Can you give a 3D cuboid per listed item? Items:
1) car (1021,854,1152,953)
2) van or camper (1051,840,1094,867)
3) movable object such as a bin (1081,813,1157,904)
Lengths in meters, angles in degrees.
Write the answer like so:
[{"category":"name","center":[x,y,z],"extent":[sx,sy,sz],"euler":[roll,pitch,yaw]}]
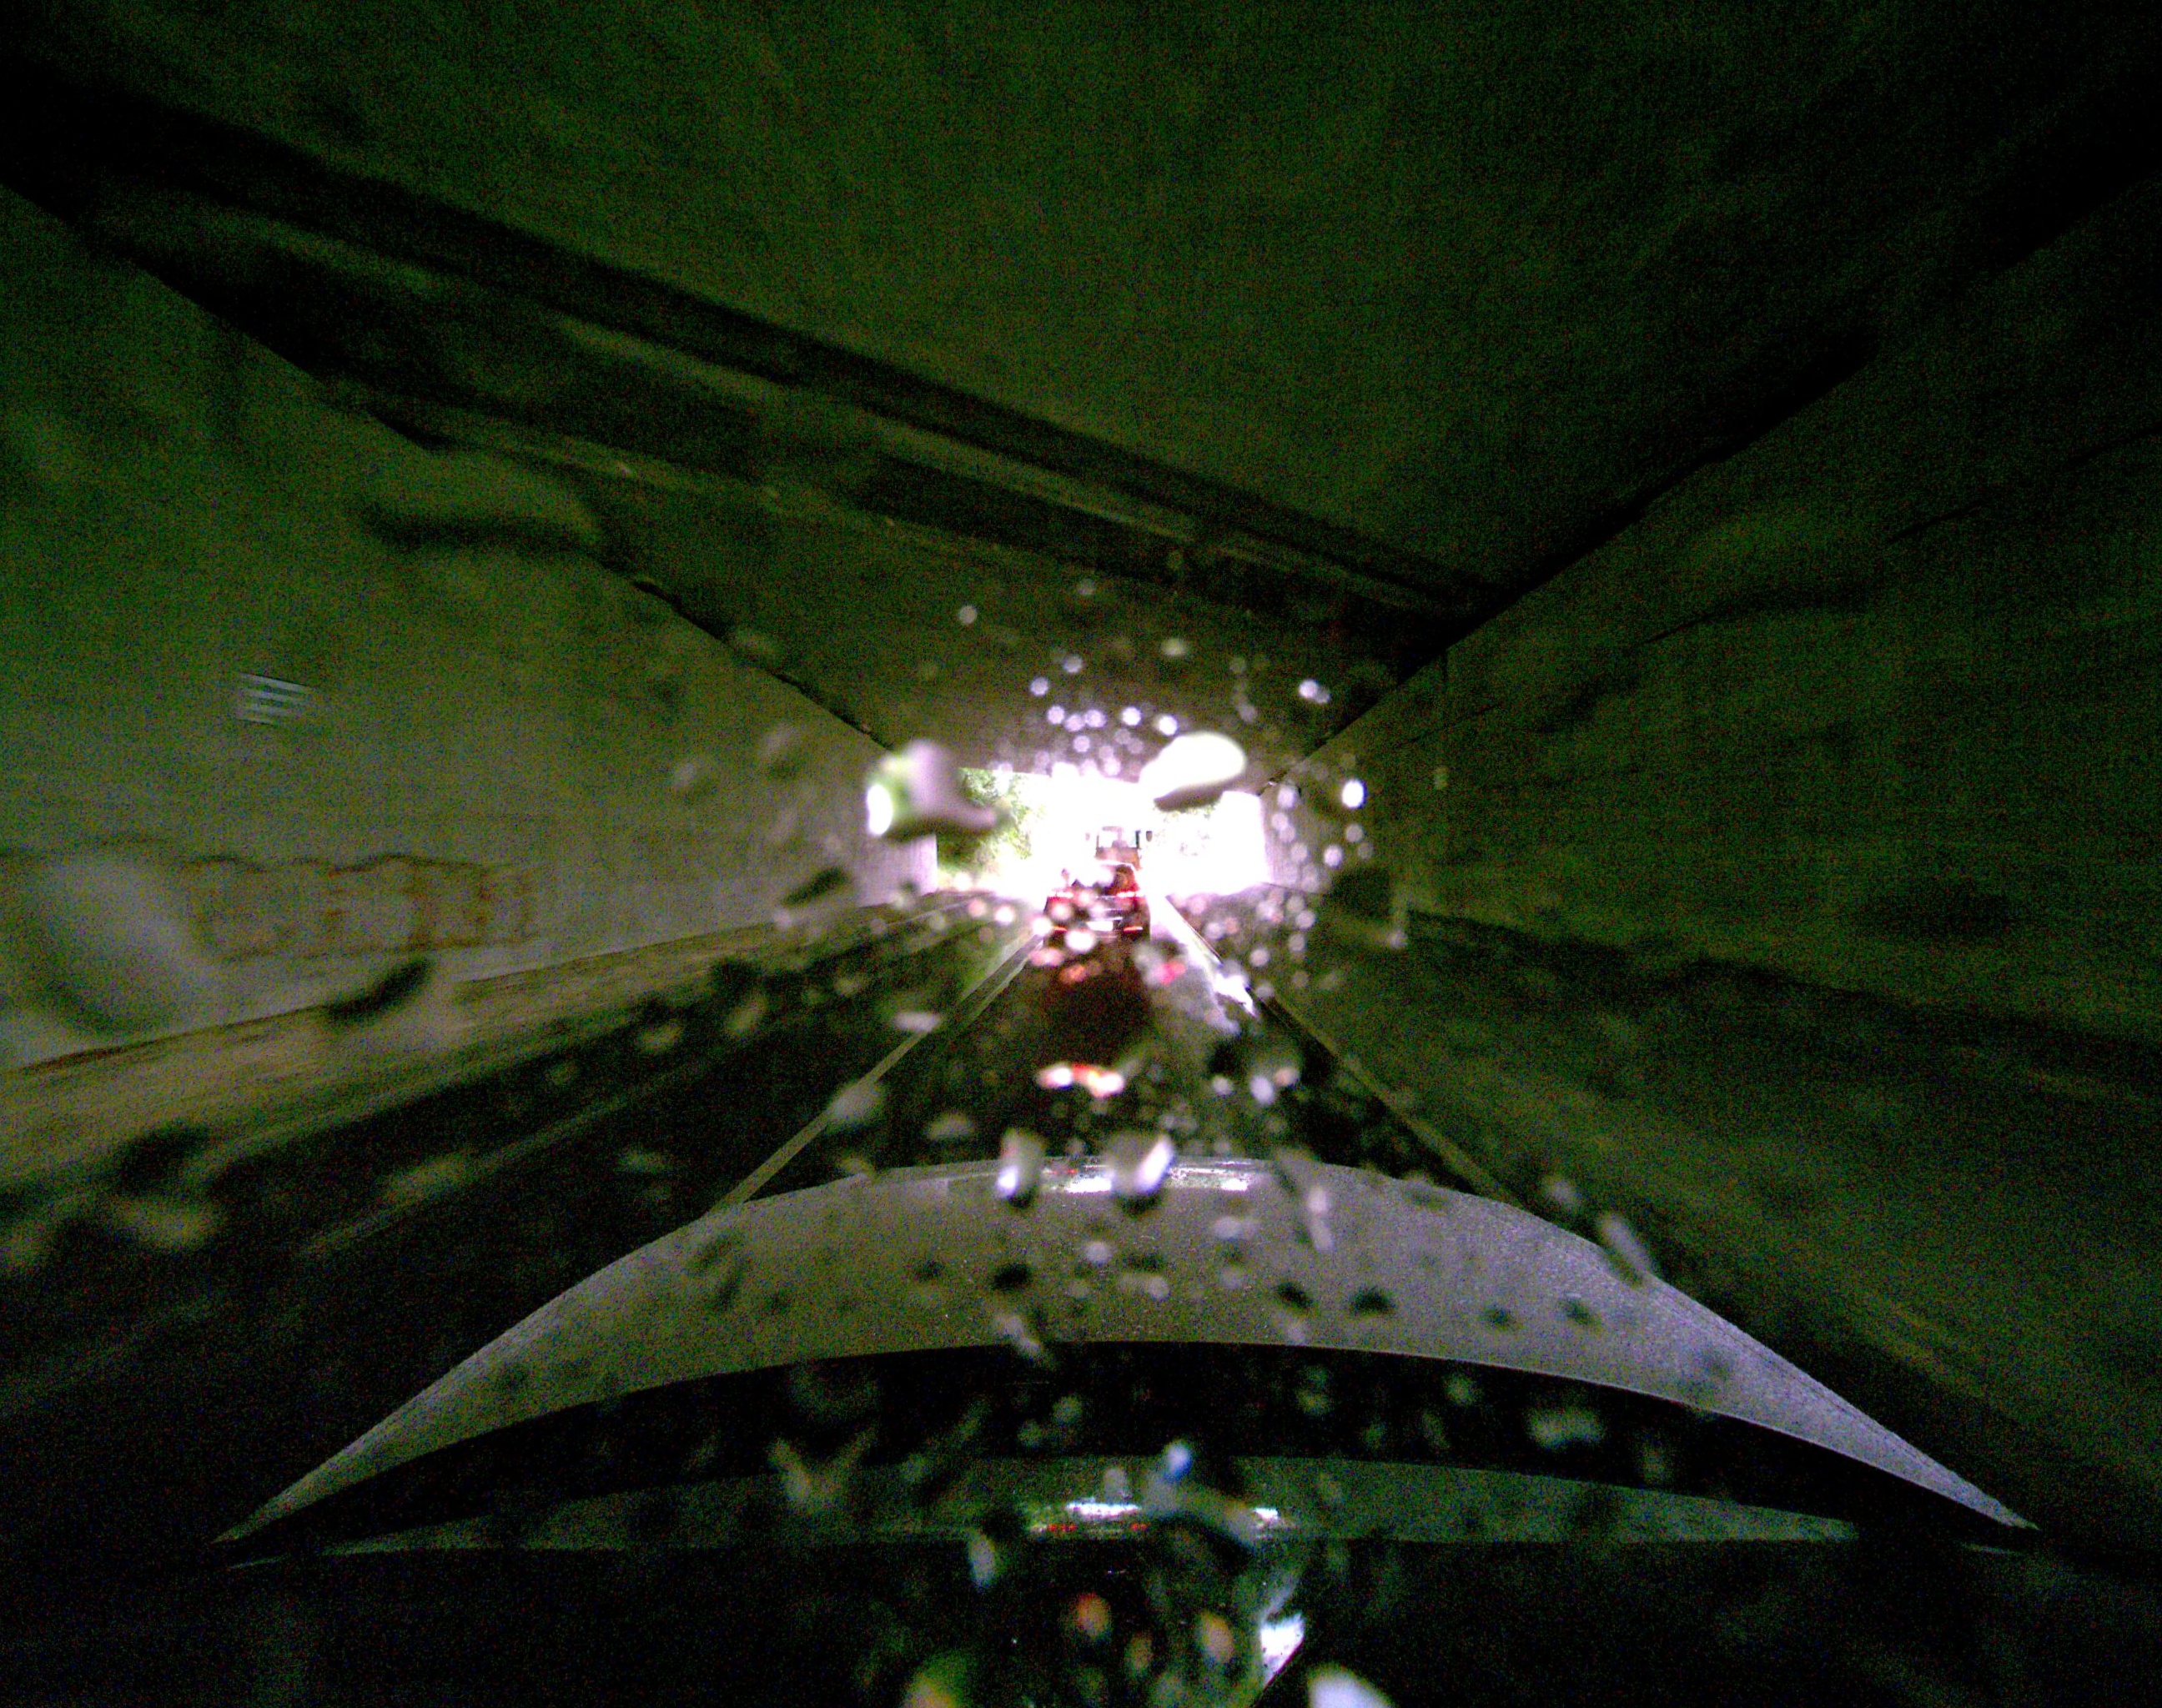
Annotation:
[{"category":"car","center":[0.071,0.753,14.371],"extent":[1.987,1.487,3.999],"euler":[0,0,-1]},{"category":"van or camper","center":[-0.739,-0.001,65.624],"extent":[2.001,2.098,4.658],"euler":[0,0,-21]},{"category":"movable object such as a bin","center":[1.253,0.135,27.519],"extent":[2.237,2.669,6.629],"euler":[0,0,2]}]
